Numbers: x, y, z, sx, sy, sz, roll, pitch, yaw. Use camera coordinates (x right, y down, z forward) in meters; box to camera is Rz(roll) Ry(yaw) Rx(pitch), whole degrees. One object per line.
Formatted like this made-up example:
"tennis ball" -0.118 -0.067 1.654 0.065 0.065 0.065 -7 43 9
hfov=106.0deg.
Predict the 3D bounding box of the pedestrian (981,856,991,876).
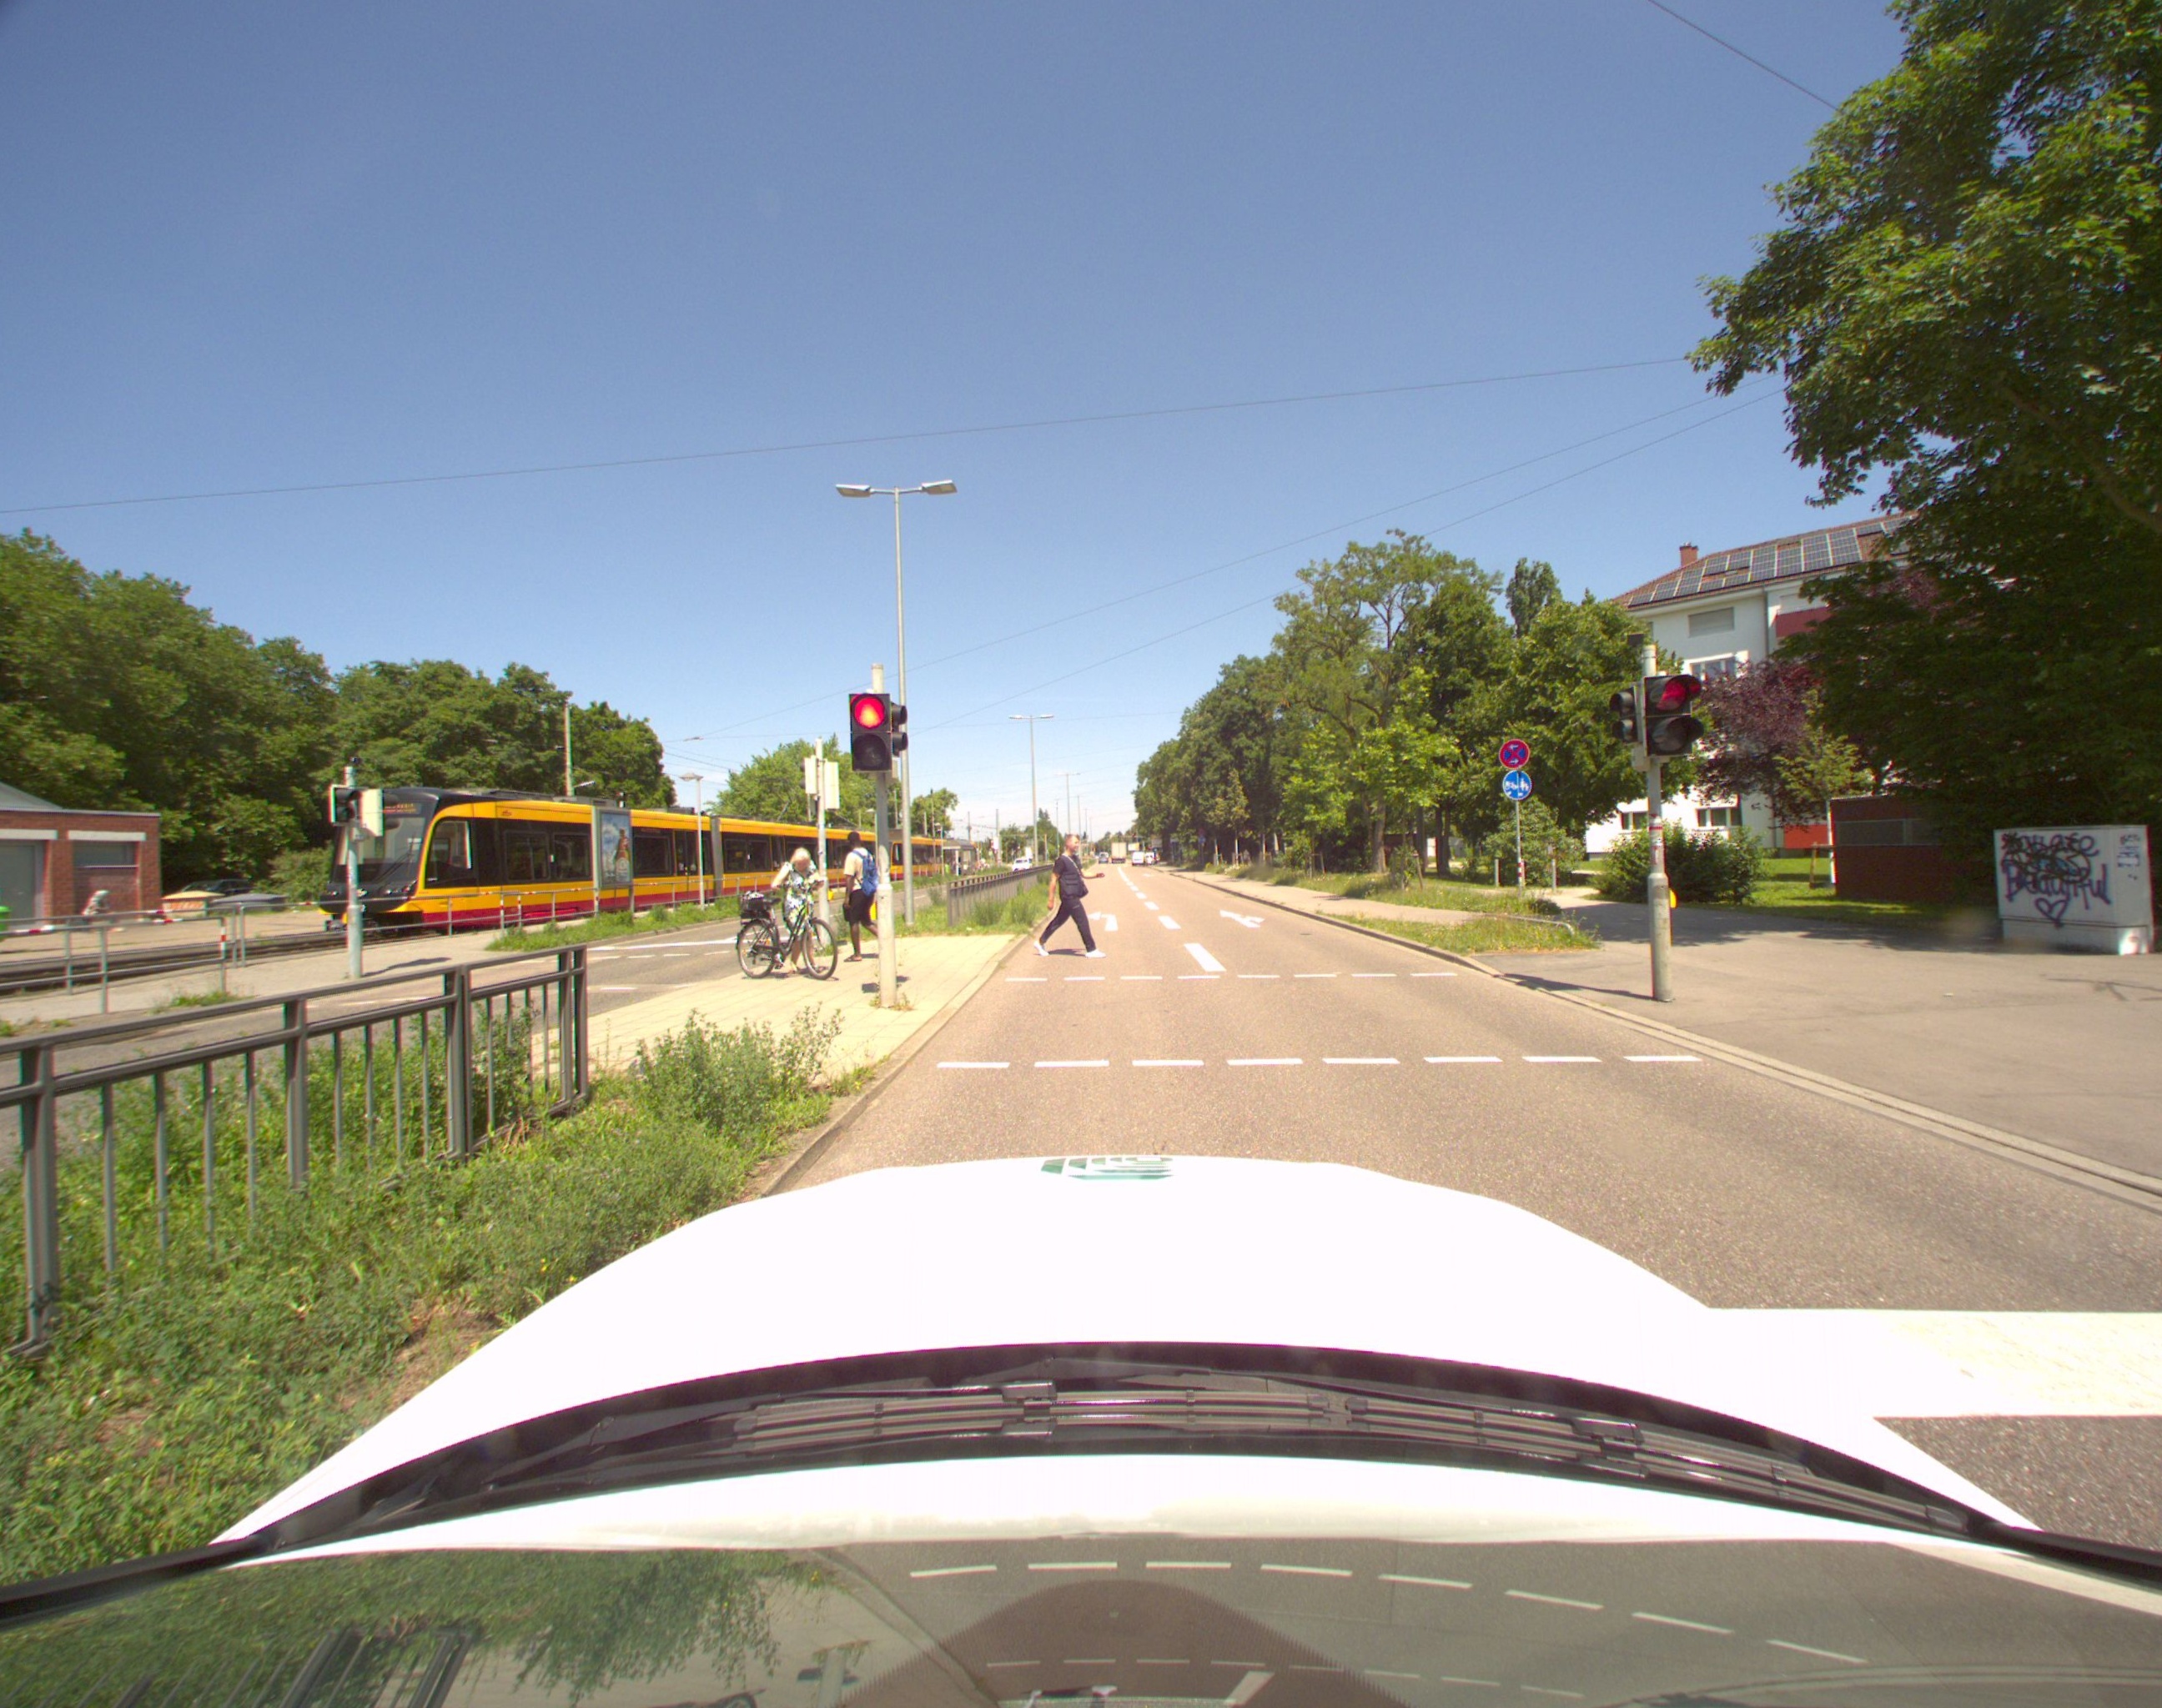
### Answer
"pedestrian" -9.923 1.250 85.113 0.812 2.013 0.939 -2 0 1

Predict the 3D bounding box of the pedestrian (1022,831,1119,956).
"pedestrian" -0.154 0.576 12.213 1.173 1.778 0.845 -2 -2 32

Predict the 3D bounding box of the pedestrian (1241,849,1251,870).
"pedestrian" 12.048 0.400 59.433 0.600 1.438 0.557 -2 0 8

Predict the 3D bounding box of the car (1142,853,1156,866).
"car" 9.388 0.719 112.424 1.773 1.668 4.002 -2 0 2

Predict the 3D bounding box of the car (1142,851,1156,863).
"car" 9.909 0.461 118.765 1.773 1.668 4.002 -2 0 2

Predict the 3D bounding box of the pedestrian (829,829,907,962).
"pedestrian" -2.937 0.547 11.305 0.837 1.777 0.720 -1 2 1

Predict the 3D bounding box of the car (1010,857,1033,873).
"car" -5.865 1.101 80.930 1.838 1.494 3.793 -2 0 2

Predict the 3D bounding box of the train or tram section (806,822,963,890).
"train or tram section" -13.621 0.102 63.004 2.920 3.789 33.100 -2 0 2

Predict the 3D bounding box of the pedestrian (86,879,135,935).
"pedestrian" -26.679 1.440 22.387 0.636 1.480 0.570 -2 0 1

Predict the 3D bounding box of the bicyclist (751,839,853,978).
"bicyclist" -3.492 0.674 10.218 0.949 1.666 0.583 -3 0 19

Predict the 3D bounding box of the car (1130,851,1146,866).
"car" 7.346 0.559 105.102 1.773 1.903 4.002 -2 0 2

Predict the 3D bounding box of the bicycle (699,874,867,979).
"bicycle" -3.615 0.881 9.871 1.941 1.161 0.544 -3 0 19

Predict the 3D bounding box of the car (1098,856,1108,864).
"car" 3.900 1.057 144.216 1.804 1.464 4.002 -2 0 2

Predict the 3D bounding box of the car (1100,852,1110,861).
"car" 4.888 0.555 163.586 1.986 1.816 4.001 0 -1 2

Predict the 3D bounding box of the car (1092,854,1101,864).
"car" 3.329 1.096 175.335 1.986 2.013 4.002 -2 0 2

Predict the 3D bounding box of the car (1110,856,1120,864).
"car" 6.489 1.145 153.691 1.804 1.464 4.002 -2 0 2

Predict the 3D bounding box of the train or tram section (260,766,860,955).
"train or tram section" -14.634 0.129 31.497 2.946 3.749 30.044 -2 0 2

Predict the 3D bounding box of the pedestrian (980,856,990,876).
"pedestrian" -9.912 1.241 83.992 0.812 2.013 0.939 -2 0 1

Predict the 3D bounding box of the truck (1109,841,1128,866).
"truck" 6.778 -0.081 146.196 3.193 4.359 6.563 -2 0 2

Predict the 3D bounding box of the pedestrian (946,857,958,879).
"pedestrian" -11.014 1.202 69.687 0.783 1.868 0.818 -2 0 1

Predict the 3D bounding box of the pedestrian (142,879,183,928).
"pedestrian" -27.981 1.505 24.815 0.634 1.456 0.585 -2 0 14
